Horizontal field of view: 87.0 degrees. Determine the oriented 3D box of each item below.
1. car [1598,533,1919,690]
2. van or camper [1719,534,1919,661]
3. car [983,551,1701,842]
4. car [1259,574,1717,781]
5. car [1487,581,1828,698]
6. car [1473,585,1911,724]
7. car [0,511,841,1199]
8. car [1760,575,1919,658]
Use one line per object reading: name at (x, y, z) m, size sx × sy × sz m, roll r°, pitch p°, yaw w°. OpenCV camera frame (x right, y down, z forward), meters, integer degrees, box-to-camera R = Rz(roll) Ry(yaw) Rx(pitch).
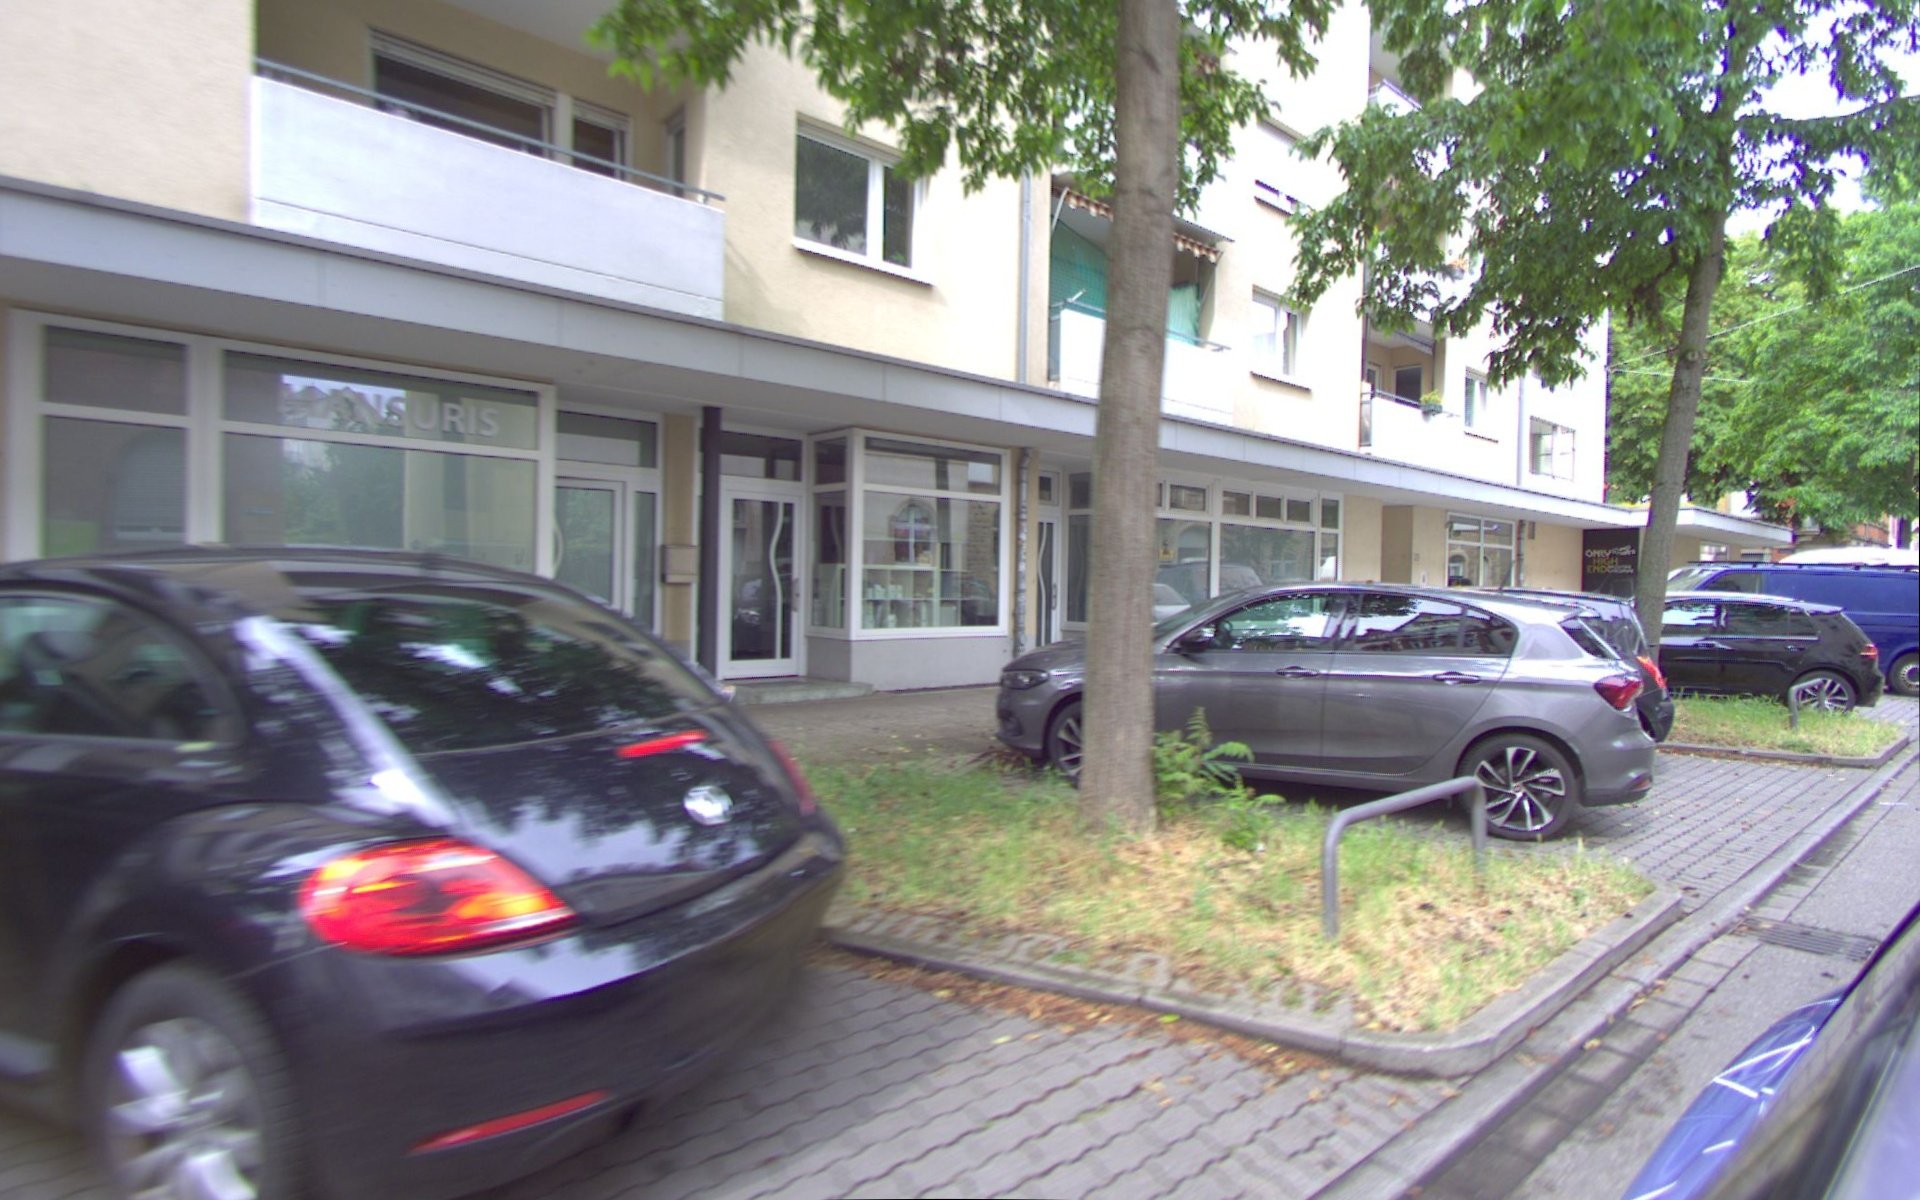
car at (13.437, 0.154, 16.449) m, size 4.633 × 2.223 × 2.060 m, roll 3°, pitch 2°, yaw 12°
van or camper at (19.740, -0.076, 22.150) m, size 4.534 × 2.628 × 1.901 m, roll 1°, pitch 1°, yaw 17°
car at (2.457, 0.472, 7.295) m, size 4.174 × 1.519 × 1.964 m, roll 3°, pitch 3°, yaw 20°
car at (4.598, 0.547, 9.223) m, size 3.337 × 1.515 × 1.836 m, roll 2°, pitch 2°, yaw 26°
car at (10.088, 0.489, 15.044) m, size 3.874 × 1.483 × 1.809 m, roll 2°, pitch 2°, yaw 26°
car at (8.930, 0.581, 12.806) m, size 4.059 × 1.460 × 1.842 m, roll 1°, pitch 1°, yaw 18°
car at (-2.622, 0.510, 3.356) m, size 4.006 × 1.502 × 1.934 m, roll 2°, pitch 2°, yaw 23°
car at (22.048, 0.372, 24.115) m, size 4.300 × 1.877 × 1.895 m, roll 2°, pitch 1°, yaw 25°
